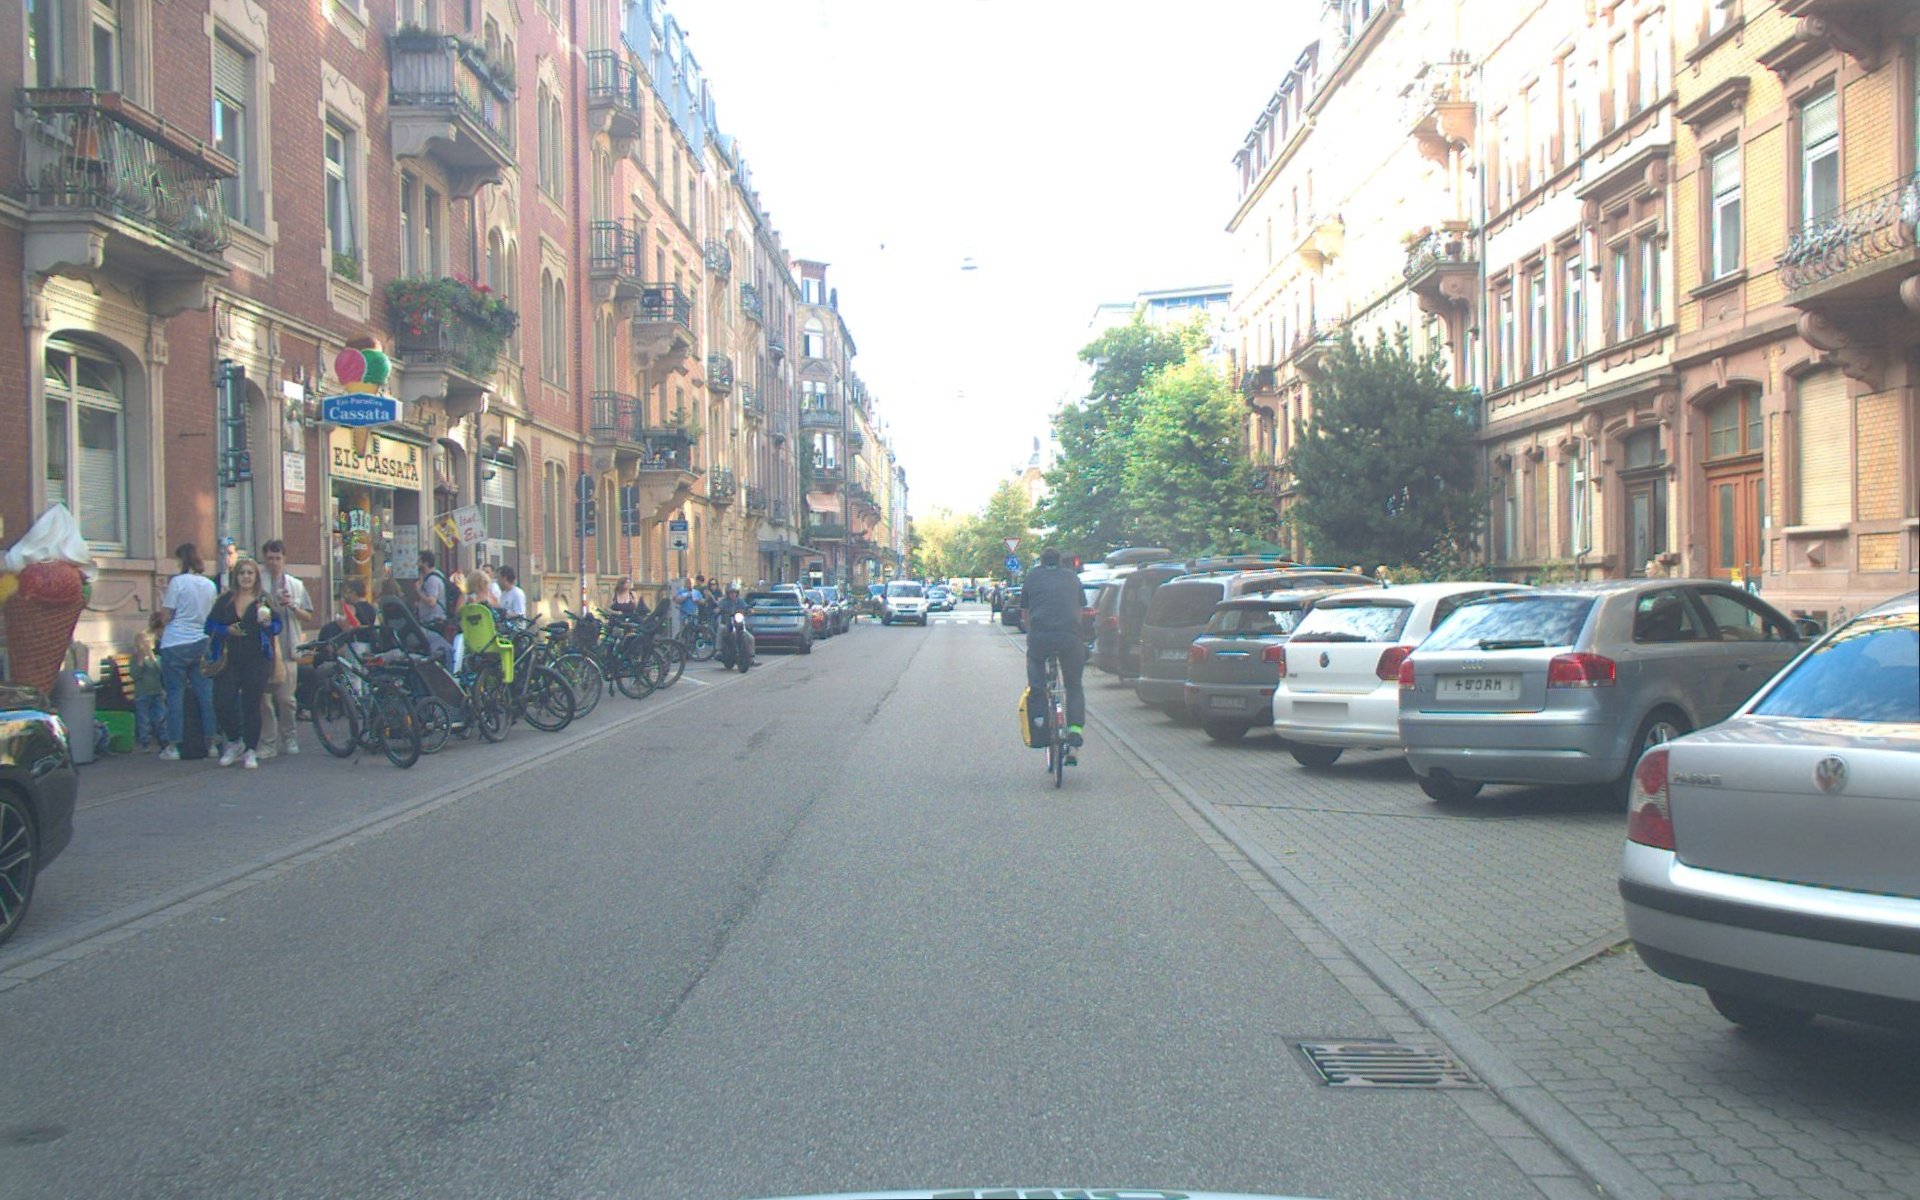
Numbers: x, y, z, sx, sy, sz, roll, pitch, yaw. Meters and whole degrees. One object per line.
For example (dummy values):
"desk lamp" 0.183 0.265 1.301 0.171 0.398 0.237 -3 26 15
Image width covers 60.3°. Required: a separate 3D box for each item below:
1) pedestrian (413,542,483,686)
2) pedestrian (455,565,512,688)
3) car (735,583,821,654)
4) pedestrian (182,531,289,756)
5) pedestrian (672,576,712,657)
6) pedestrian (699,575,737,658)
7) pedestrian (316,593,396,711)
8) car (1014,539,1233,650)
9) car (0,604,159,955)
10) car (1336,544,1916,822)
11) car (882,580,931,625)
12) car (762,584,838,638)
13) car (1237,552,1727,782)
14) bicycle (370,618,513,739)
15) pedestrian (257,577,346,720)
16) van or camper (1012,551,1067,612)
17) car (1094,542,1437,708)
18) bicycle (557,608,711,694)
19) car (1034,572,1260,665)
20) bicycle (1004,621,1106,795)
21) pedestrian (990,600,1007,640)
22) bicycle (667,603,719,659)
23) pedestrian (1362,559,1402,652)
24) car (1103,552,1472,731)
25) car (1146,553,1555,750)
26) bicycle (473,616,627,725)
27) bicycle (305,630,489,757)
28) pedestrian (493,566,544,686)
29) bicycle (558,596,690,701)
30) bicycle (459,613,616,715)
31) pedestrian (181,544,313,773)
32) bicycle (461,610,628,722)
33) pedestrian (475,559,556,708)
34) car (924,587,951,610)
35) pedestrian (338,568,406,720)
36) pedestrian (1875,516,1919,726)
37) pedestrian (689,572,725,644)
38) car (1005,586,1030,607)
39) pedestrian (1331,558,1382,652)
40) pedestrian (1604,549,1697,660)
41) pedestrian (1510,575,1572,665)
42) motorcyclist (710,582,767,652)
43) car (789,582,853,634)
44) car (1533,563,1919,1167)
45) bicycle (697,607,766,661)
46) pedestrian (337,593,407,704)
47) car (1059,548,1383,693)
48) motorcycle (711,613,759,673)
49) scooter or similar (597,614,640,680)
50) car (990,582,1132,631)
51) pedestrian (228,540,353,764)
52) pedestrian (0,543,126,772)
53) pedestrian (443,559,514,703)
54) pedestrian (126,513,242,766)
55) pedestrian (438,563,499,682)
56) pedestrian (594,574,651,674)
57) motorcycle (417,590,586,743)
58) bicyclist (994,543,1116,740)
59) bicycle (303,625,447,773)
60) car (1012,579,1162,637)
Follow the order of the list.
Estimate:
"pedestrian" -6.883 0.180 22.226 0.753 1.886 0.659 0 0 -31
"pedestrian" -6.808 0.373 23.641 0.657 1.725 0.580 0 0 -31
"car" -4.331 0.398 39.943 1.789 1.606 5.260 0 0 -4
"pedestrian" -6.371 0.369 14.555 0.634 1.925 0.600 1 0 30
"pedestrian" -5.695 0.350 35.119 0.672 1.690 0.546 0 0 -30
"pedestrian" -5.115 0.335 34.991 0.559 1.739 0.659 0 0 -35
"pedestrian" -6.919 0.587 18.972 0.708 1.336 0.606 0 0 -4
"car" 3.938 -0.165 39.400 5.097 2.447 1.896 -2 0 -34
"car" -4.659 0.723 5.299 1.775 1.374 5.114 0 0 -1
"car" 4.654 0.470 11.380 3.957 1.486 1.863 -3 0 -36
"car" -2.240 0.099 70.458 1.878 1.860 4.438 0 0 0
"car" -4.911 0.328 51.334 1.953 1.572 4.426 -1 0 -1
"car" 4.402 0.484 13.785 3.951 1.476 1.717 -4 0 -33
"bicycle" -5.160 0.756 16.577 0.566 1.109 1.739 0 0 13
"pedestrian" -7.039 0.506 17.702 0.591 1.495 0.726 0 0 10
"van or camper" 4.187 -0.985 87.414 2.480 3.090 4.457 -1 0 -2
"car" 4.044 0.278 21.671 4.348 1.854 1.736 -3 0 -32
"bicycle" -4.723 0.713 24.147 0.793 1.179 2.260 1 0 37
"car" 3.840 0.320 33.675 4.407 1.762 1.975 -1 1 -35
"bicycle" 0.713 0.786 13.043 0.652 1.198 2.497 0 0 0
"pedestrian" 1.757 0.896 75.147 0.615 1.769 0.776 -1 0 12
"bicycle" -5.461 0.625 33.910 0.482 1.114 1.906 1 0 9
"pedestrian" 7.713 0.098 30.218 0.561 1.688 0.633 0 0 0
"car" 3.794 0.410 19.022 3.948 1.771 1.820 -3 1 -31
"car" 3.941 0.432 16.446 3.959 1.575 1.844 -4 1 -38
"bicycle" -4.517 0.756 18.263 1.553 1.140 0.583 0 0 -37
"bicycle" -4.956 0.801 14.543 1.646 1.048 0.409 0 0 20
"pedestrian" -6.452 0.376 24.159 0.558 1.725 0.640 0 0 -31
"bicycle" -4.455 0.627 21.991 1.658 1.345 0.521 0 0 -36
"bicycle" -4.959 0.730 19.464 1.719 1.140 0.548 0 0 -37
"pedestrian" -5.767 0.449 13.388 0.747 1.790 0.664 1 0 30
"bicycle" -4.730 0.727 18.877 1.771 1.221 0.583 0 0 -37
"pedestrian" -5.442 0.395 20.299 0.591 1.782 0.946 0 0 12
"car" -1.492 -0.073 107.443 1.714 1.461 4.210 0 0 -2
"pedestrian" -6.494 0.479 18.285 0.542 1.644 0.584 0 0 0
"pedestrian" 7.928 0.156 13.187 0.716 1.662 0.833 -2 -1 -3
"pedestrian" -6.550 0.190 42.822 0.740 1.839 0.863 0 0 3
"car" 3.992 -0.233 115.611 1.611 1.347 3.577 -4 0 1
"pedestrian" 7.402 0.089 30.839 0.643 1.724 0.688 0 0 -43
"pedestrian" 9.879 0.055 23.689 0.910 1.523 0.811 -2 1 -7
"pedestrian" 8.338 0.285 23.759 0.588 1.240 0.673 -3 0 0
"motorcyclist" -4.036 0.307 30.150 0.994 1.267 0.802 0 0 -6
"car" -4.721 0.260 56.807 1.754 1.657 4.847 -1 0 0
"car" 4.176 0.586 5.601 4.554 1.477 1.773 -3 1 -33
"bicycle" -4.720 0.693 34.233 0.472 1.078 1.903 1 0 24
"pedestrian" -7.163 0.581 20.168 0.703 1.336 0.439 0 0 -4
"car" 3.880 0.266 25.084 4.543 1.815 1.810 -4 2 -1
"motorcycle" -4.056 0.756 29.942 0.778 1.012 2.496 0 0 -6
"scooter or similar" -5.678 0.774 27.540 0.593 1.073 0.921 1 0 -5
"car" 3.629 0.207 59.253 4.700 1.482 2.038 -4 2 -28
"pedestrian" -5.716 0.427 14.137 0.747 1.850 0.664 1 0 30
"pedestrian" -7.282 0.445 13.404 0.675 1.790 0.664 1 0 30
"pedestrian" -6.067 0.381 20.876 0.591 1.782 0.726 0 0 10
"pedestrian" -6.495 0.320 13.845 0.630 2.049 0.629 0 0 28
"pedestrian" -7.236 0.328 24.378 0.650 1.725 0.763 0 0 0
"pedestrian" -5.771 0.406 28.346 0.894 1.690 0.826 0 0 -8
"motorcycle" -4.489 0.613 16.362 0.692 1.408 2.025 0 0 14
"bicyclist" 0.735 0.317 13.085 0.914 1.510 0.747 0 0 0
"bicycle" -4.866 0.793 13.718 1.551 1.136 0.372 0 0 39
"car" 3.922 0.231 50.832 4.418 1.489 1.857 -4 2 -35
